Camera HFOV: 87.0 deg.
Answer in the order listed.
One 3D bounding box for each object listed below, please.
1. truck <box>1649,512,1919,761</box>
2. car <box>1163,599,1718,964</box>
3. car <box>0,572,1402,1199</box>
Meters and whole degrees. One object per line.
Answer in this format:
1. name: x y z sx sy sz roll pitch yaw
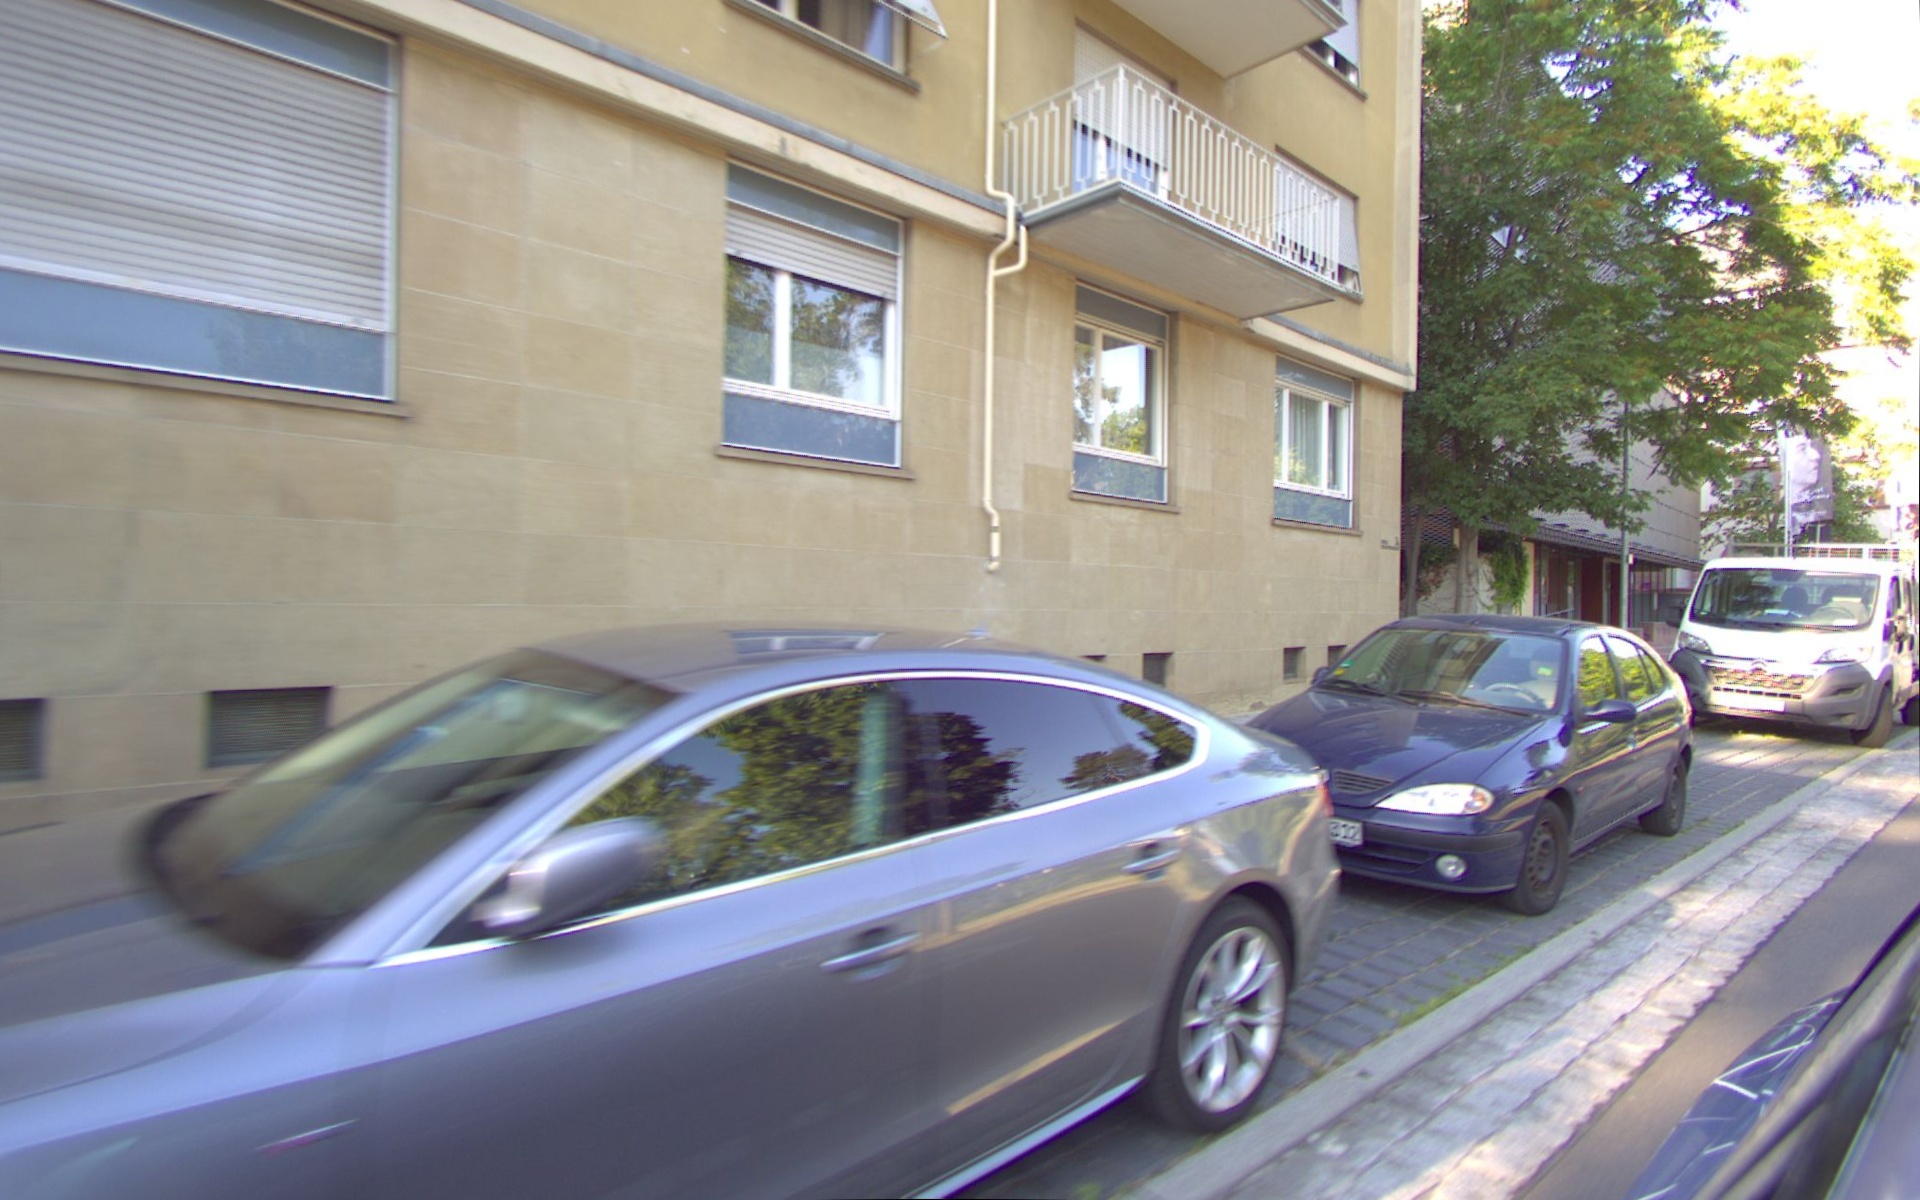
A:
1. truck: 11.574 0.370 13.595 6.755 2.596 2.132 0 1 -41
2. car: 3.144 0.761 6.206 3.968 1.437 1.705 0 3 -43
3. car: -0.717 0.701 2.661 4.271 1.437 1.707 0 3 -40
